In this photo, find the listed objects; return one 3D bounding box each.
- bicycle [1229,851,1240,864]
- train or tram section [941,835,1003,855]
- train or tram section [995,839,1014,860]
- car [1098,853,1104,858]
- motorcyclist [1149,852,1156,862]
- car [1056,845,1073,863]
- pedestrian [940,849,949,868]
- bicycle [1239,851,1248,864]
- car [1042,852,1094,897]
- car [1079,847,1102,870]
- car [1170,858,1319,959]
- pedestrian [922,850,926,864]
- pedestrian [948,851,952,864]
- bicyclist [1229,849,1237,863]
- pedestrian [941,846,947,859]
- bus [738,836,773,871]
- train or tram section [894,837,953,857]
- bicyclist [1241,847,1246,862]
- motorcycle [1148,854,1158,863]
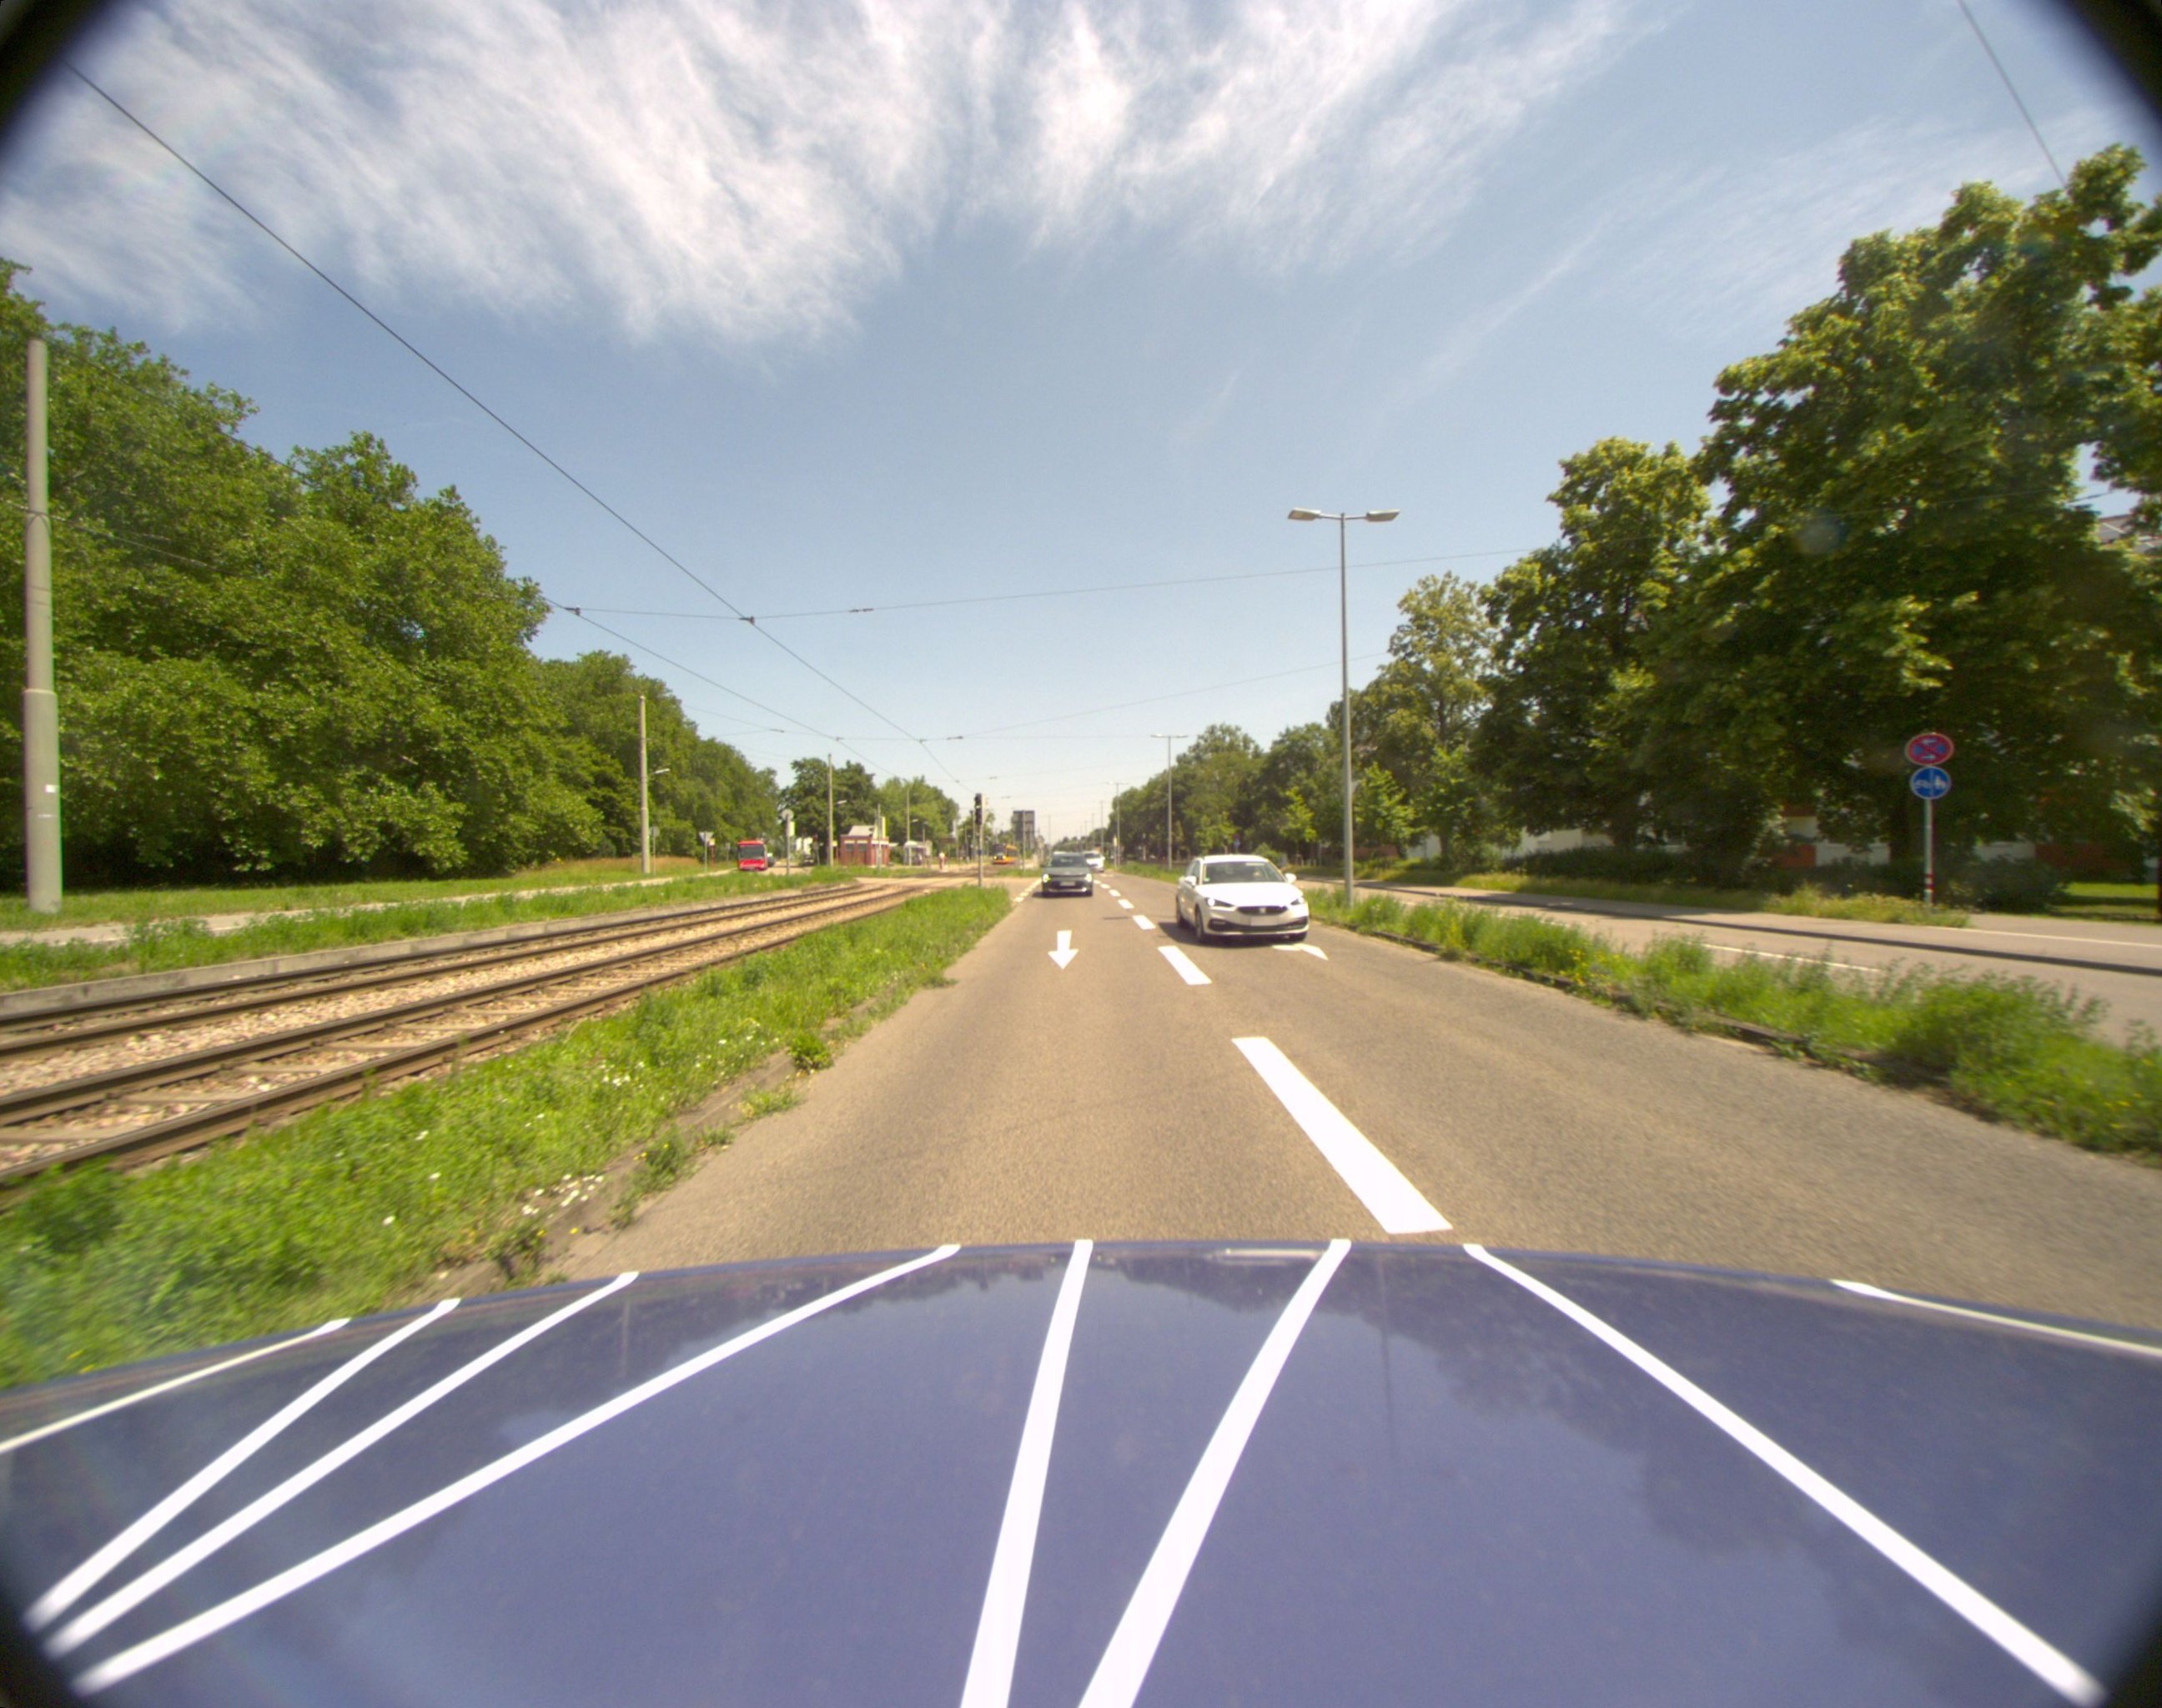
[{"bbox_3d":[13.945,0.325,69.126,0.590,1.126,1.615,0,0,-1],"label":"bicycle"},{"bbox_3d":[-21.994,-1.738,152.852,13.151,3.628,2.720,-1,2,28],"label":"train or tram section"},{"bbox_3d":[-12.558,-0.739,125.483,2.525,3.303,7.259,0,0,-1],"label":"train or tram section"},{"bbox_3d":[6.585,0.528,252.949,1.864,1.748,4.478,-1,1,-2],"label":"car"},{"bbox_3d":[9.669,0.426,102.706,0.738,1.395,1.511,0,1,-6],"label":"motorcyclist"},{"bbox_3d":[-1.940,0.003,88.219,1.921,2.002,3.999,0,0,-2],"label":"car"},{"bbox_3d":[-12.922,0.409,71.957,0.637,1.749,0.815,-2,2,-15],"label":"pedestrian"},{"bbox_3d":[14.827,0.314,69.286,0.555,1.088,1.379,-2,1,0],"label":"bicycle"},{"bbox_3d":[-0.445,0.704,28.250,1.788,1.554,4.135,0,0,0],"label":"car"},{"bbox_3d":[0.875,0.386,67.955,1.998,2.002,4.000,0,1,0],"label":"car"},{"bbox_3d":[2.764,0.848,13.788,1.772,1.460,4.111,-2,0,0],"label":"car"},{"bbox_3d":[-19.967,0.354,96.499,0.382,1.764,0.740,0,1,1],"label":"pedestrian"},{"bbox_3d":[-15.922,0.450,92.148,0.361,1.636,0.445,0,0,1],"label":"pedestrian"},{"bbox_3d":[13.946,0.167,69.613,0.546,1.338,0.755,0,1,-2],"label":"bicyclist"},{"bbox_3d":[-18.266,-0.160,101.424,0.707,1.754,0.657,0,1,0],"label":"pedestrian"},{"bbox_3d":[-35.049,-0.139,82.210,2.771,3.419,12.422,-2,1,-21],"label":"bus"},{"bbox_3d":[-32.963,-1.457,158.810,13.217,3.628,2.720,-1,2,28],"label":"train or tram section"},{"bbox_3d":[14.809,0.075,69.278,0.358,1.384,0.440,-1,1,1],"label":"bicyclist"},{"bbox_3d":[9.734,0.592,102.473,0.808,1.291,2.393,0,0,-7],"label":"motorcycle"}]
